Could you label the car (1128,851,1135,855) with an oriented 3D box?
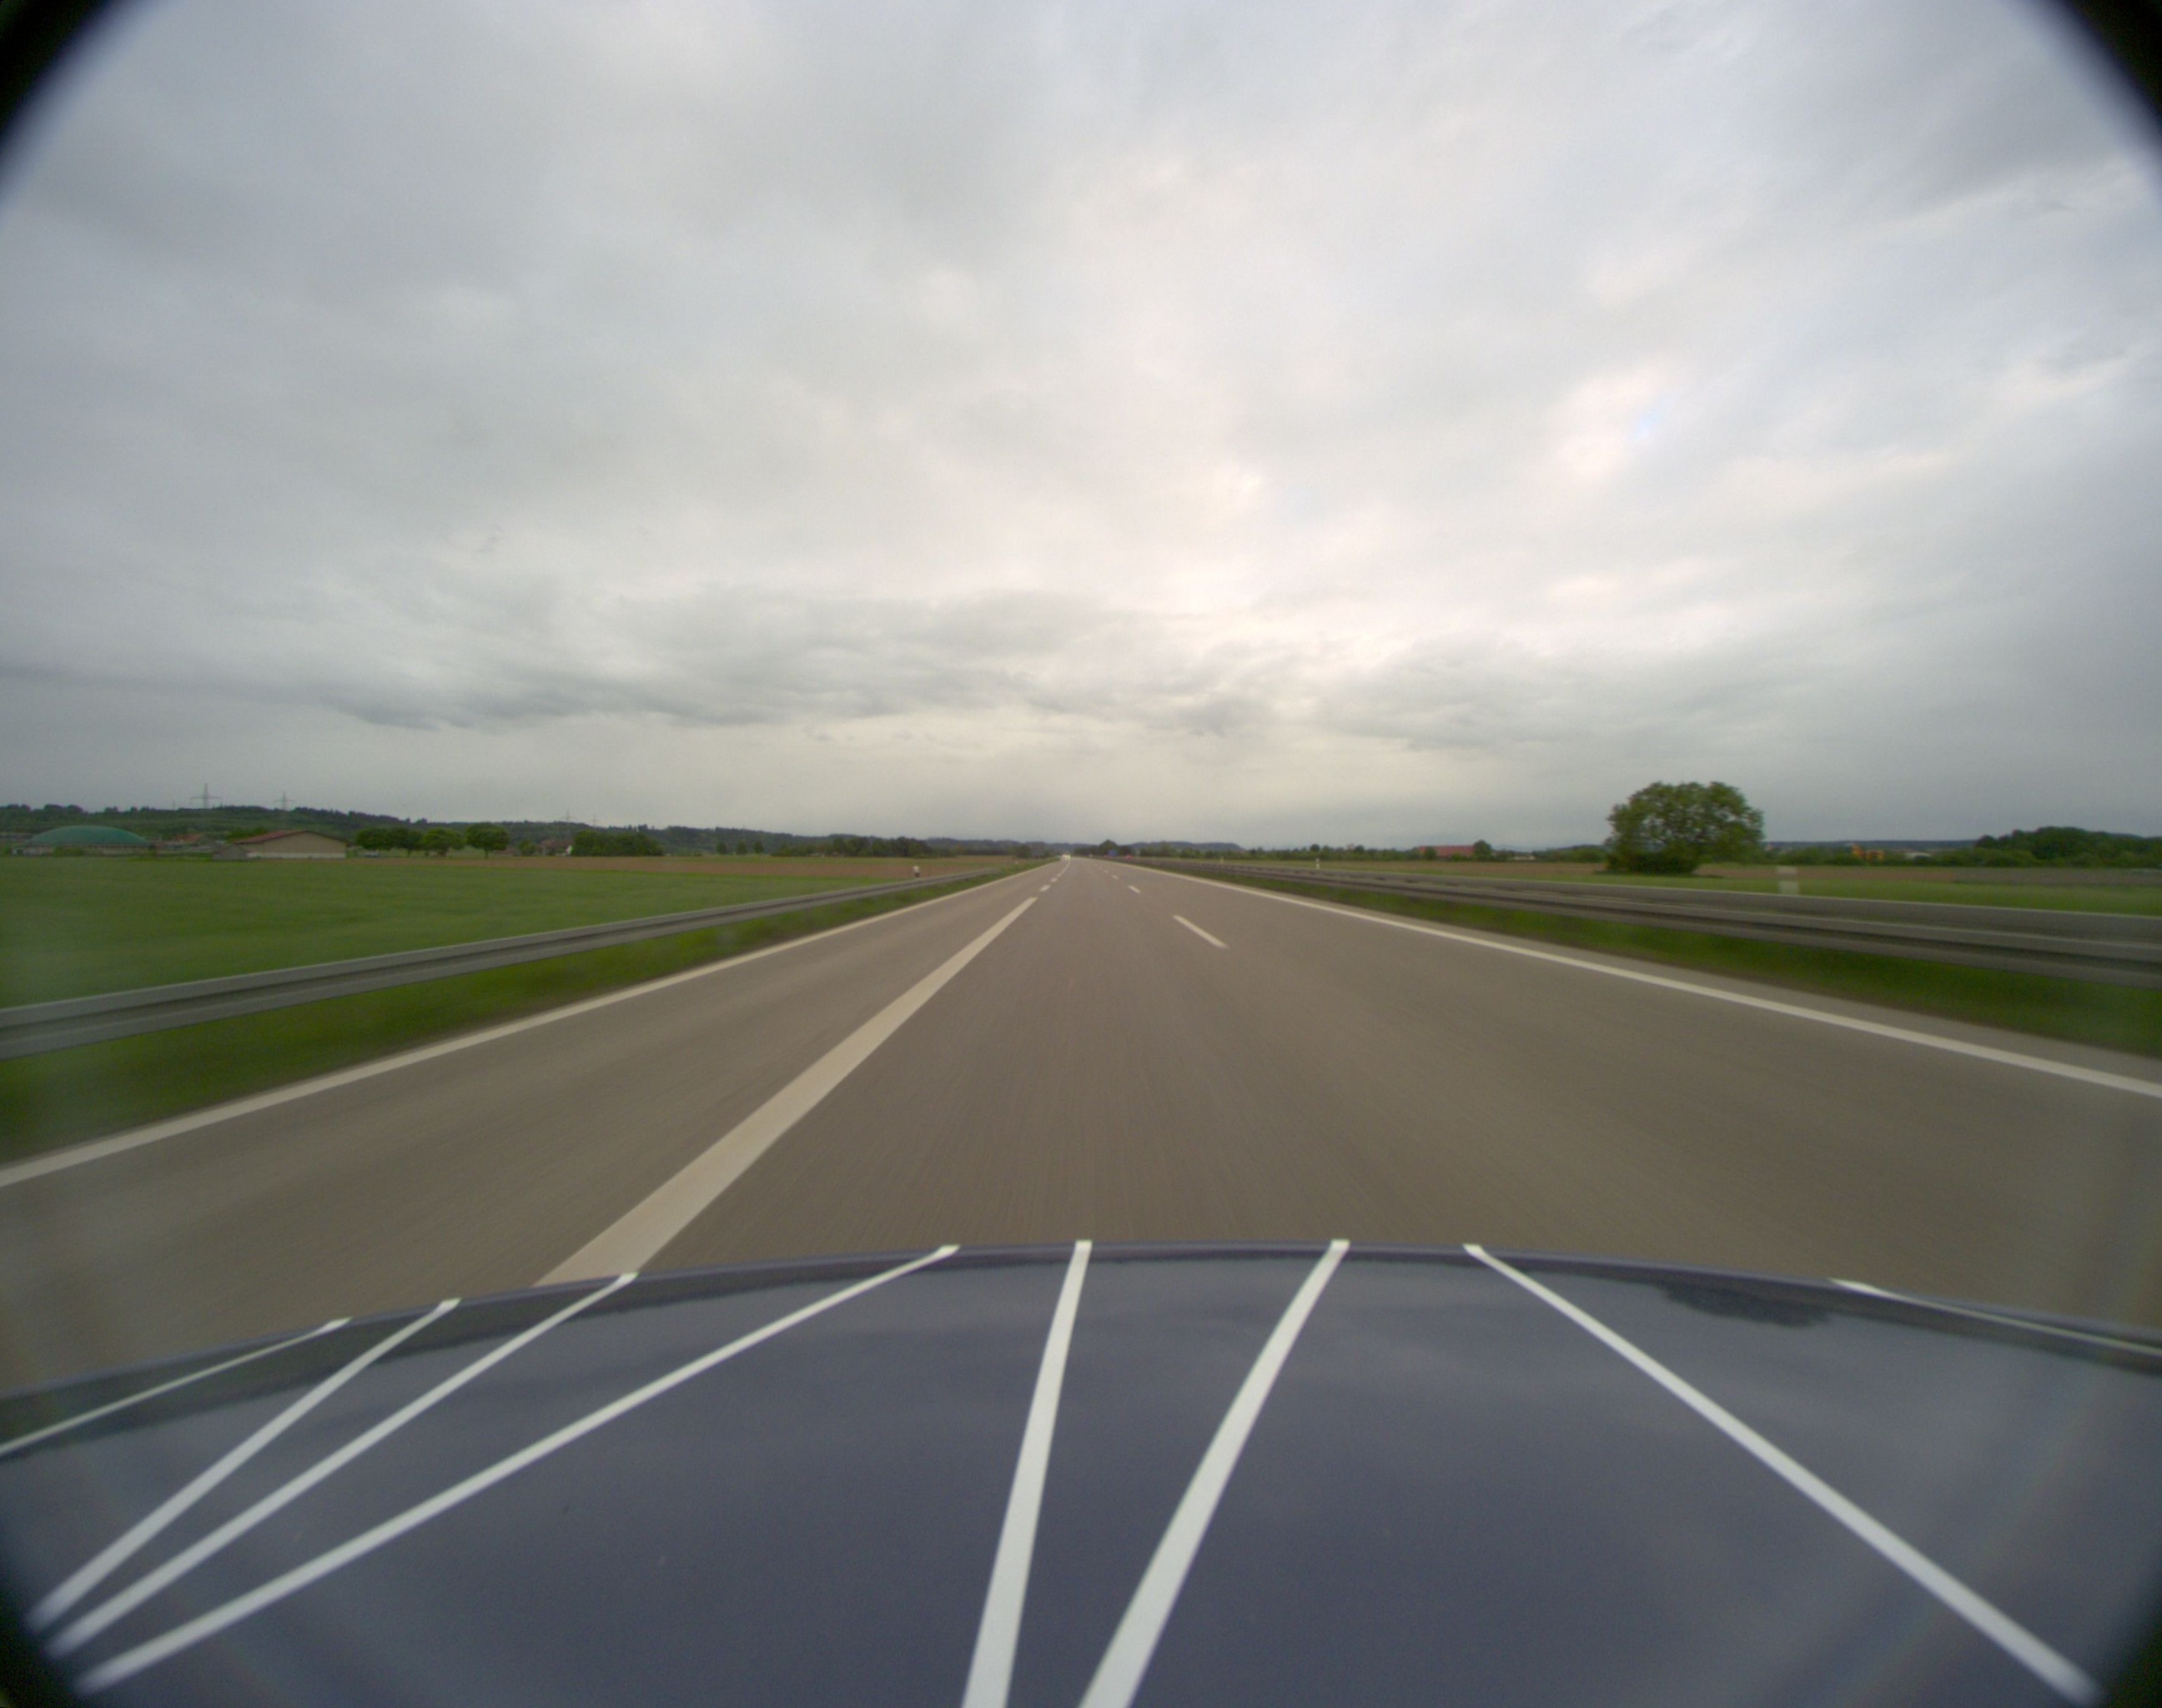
[{"bbox_3d":[16.328,-0.295,247.208,1.999,1.408,4.523,-2,0,0],"label":"car"}]
